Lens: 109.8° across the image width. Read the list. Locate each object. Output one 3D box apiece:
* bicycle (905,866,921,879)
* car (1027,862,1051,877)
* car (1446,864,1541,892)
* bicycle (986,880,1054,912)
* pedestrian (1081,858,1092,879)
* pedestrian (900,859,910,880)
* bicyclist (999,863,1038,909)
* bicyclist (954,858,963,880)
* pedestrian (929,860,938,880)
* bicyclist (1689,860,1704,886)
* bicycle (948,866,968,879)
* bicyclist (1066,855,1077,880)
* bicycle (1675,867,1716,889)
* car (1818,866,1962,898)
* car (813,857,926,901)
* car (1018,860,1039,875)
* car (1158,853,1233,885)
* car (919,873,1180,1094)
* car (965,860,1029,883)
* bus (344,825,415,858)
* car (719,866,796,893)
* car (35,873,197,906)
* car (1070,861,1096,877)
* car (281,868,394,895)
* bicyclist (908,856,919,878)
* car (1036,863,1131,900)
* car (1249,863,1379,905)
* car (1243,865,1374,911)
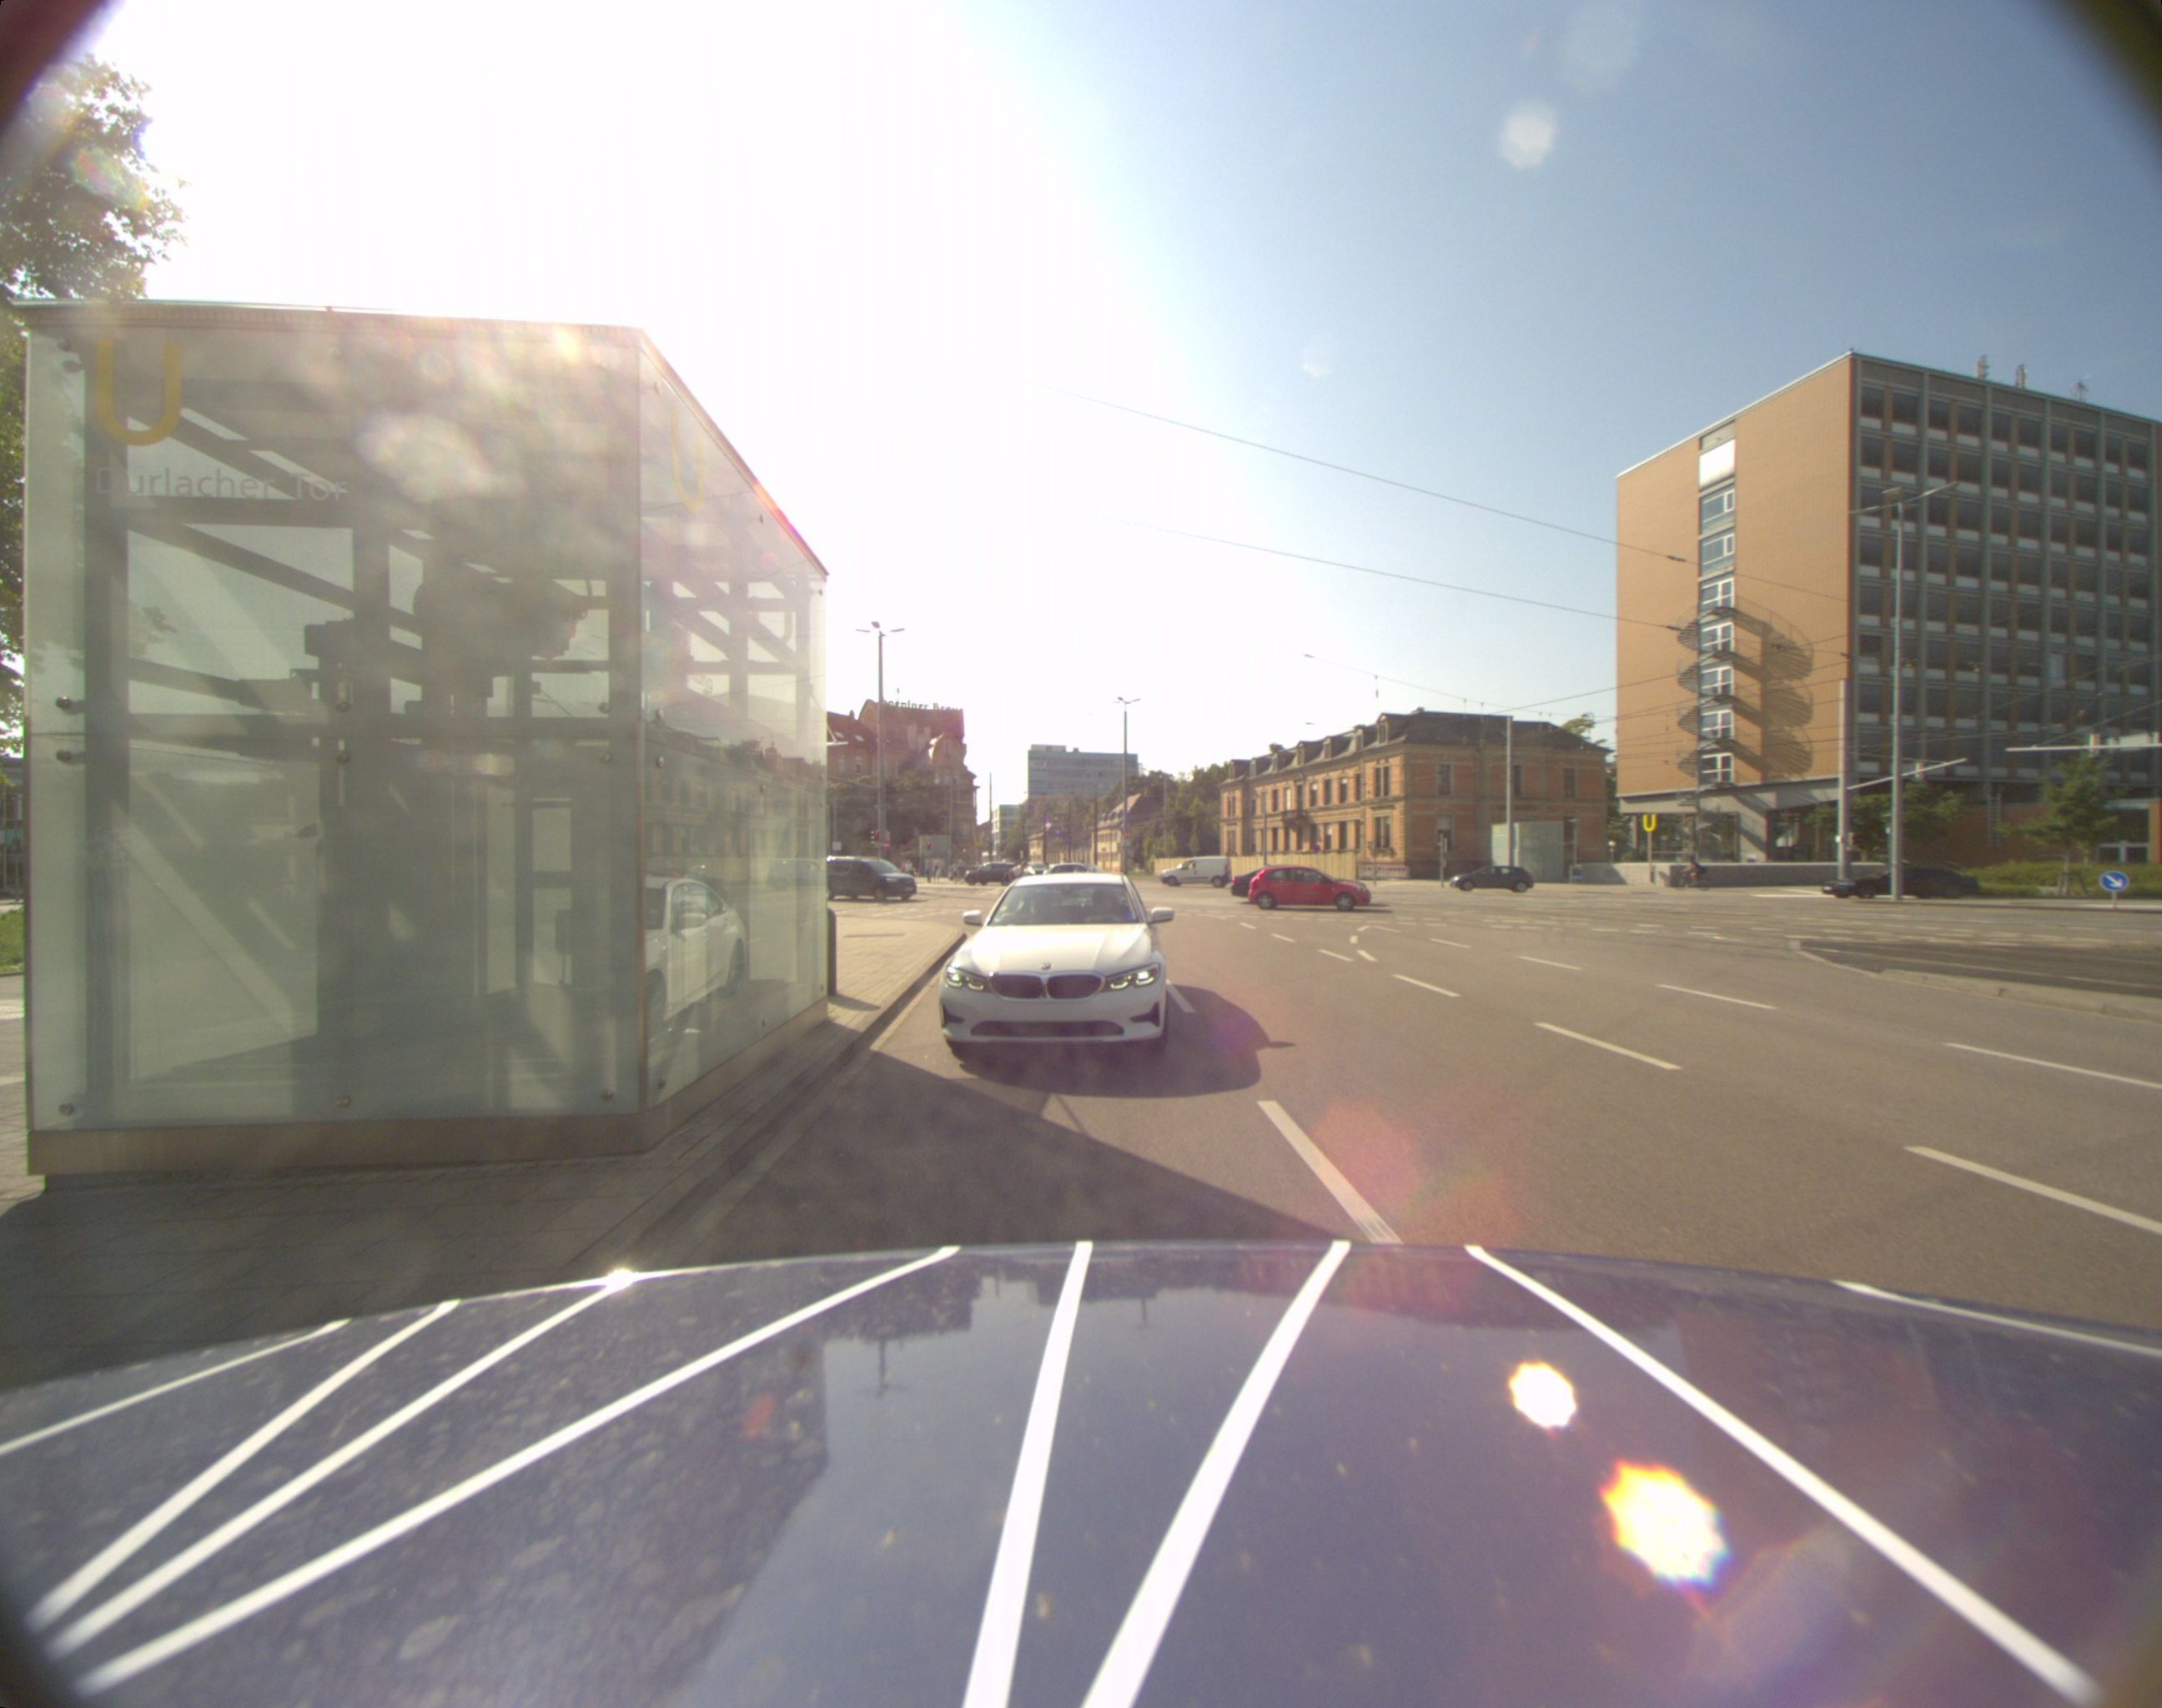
[{"bbox_3d":[-13.461,1.472,60.871,0.433,1.019,1.529,0,0,24],"label":"bicycle"},{"bbox_3d":[-3.954,1.457,71.150,1.927,1.368,3.997,0,0,-9],"label":"car"},{"bbox_3d":[22.254,1.289,41.181,4.280,1.456,1.677,0,-2,19],"label":"car"},{"bbox_3d":[-2.033,1.397,25.407,2.193,0.983,0.530,-2,1,15],"label":"bicycle"},{"bbox_3d":[0.481,1.205,62.587,0.792,1.677,0.661,0,0,9],"label":"pedestrian"},{"bbox_3d":[-14.466,1.250,62.361,0.622,1.716,0.506,-1,0,42],"label":"pedestrian"},{"bbox_3d":[-2.067,1.041,25.383,0.970,1.467,1.088,0,2,14],"label":"bicyclist"},{"bbox_3d":[-9.679,1.164,59.994,0.587,1.720,0.594,0,0,-14],"label":"bicyclist"},{"bbox_3d":[-11.923,1.318,61.506,0.522,1.631,0.506,-1,0,27],"label":"pedestrian"},{"bbox_3d":[34.775,1.090,42.900,0.548,1.471,0.397,0,0,16],"label":"bicyclist"},{"bbox_3d":[-9.702,1.454,60.004,1.527,1.019,0.433,0,0,-14],"label":"bicycle"},{"bbox_3d":[-0.683,0.975,55.929,0.709,1.851,0.782,0,0,7],"label":"bicyclist"},{"bbox_3d":[34.721,1.357,42.921,1.769,1.187,0.402,0,0,16],"label":"bicycle"},{"bbox_3d":[37.743,1.291,35.577,4.316,1.456,1.677,0,-2,18],"label":"car"},{"bbox_3d":[-9.241,1.044,33.134,4.761,1.817,1.807,0,0,27],"label":"car"},{"bbox_3d":[-5.603,1.430,81.371,1.927,1.626,3.997,0,0,-9],"label":"car"},{"bbox_3d":[6.994,0.944,46.463,4.280,1.874,1.798,0,-2,20],"label":"car"},{"bbox_3d":[-0.193,0.997,7.859,1.813,1.419,4.775,-3,0,1],"label":"car"},{"bbox_3d":[-5.764,1.179,51.960,3.967,1.572,1.747,0,-1,19],"label":"car"},{"bbox_3d":[-67.521,-1.134,73.012,11.464,2.966,2.904,0,0,37],"label":"bus"},{"bbox_3d":[-17.516,1.342,41.092,3.989,1.407,1.807,0,0,30],"label":"car"},{"bbox_3d":[-45.706,1.645,36.133,1.995,1.362,4.406,0,0,25],"label":"car"},{"bbox_3d":[0.158,1.328,68.198,1.693,1.319,3.997,0,0,-9],"label":"car"},{"bbox_3d":[-41.719,1.503,42.719,1.994,1.362,4.408,0,0,42],"label":"car"},{"bbox_3d":[-13.434,1.025,60.855,0.646,1.707,0.588,-1,0,24],"label":"bicyclist"},{"bbox_3d":[0.103,1.110,31.858,3.547,1.427,1.807,0,0,26],"label":"car"},{"bbox_3d":[8.642,1.064,28.251,4.338,1.443,1.807,0,0,30],"label":"car"},{"bbox_3d":[7.560,1.086,25.188,3.990,1.407,1.806,0,0,23],"label":"car"}]
